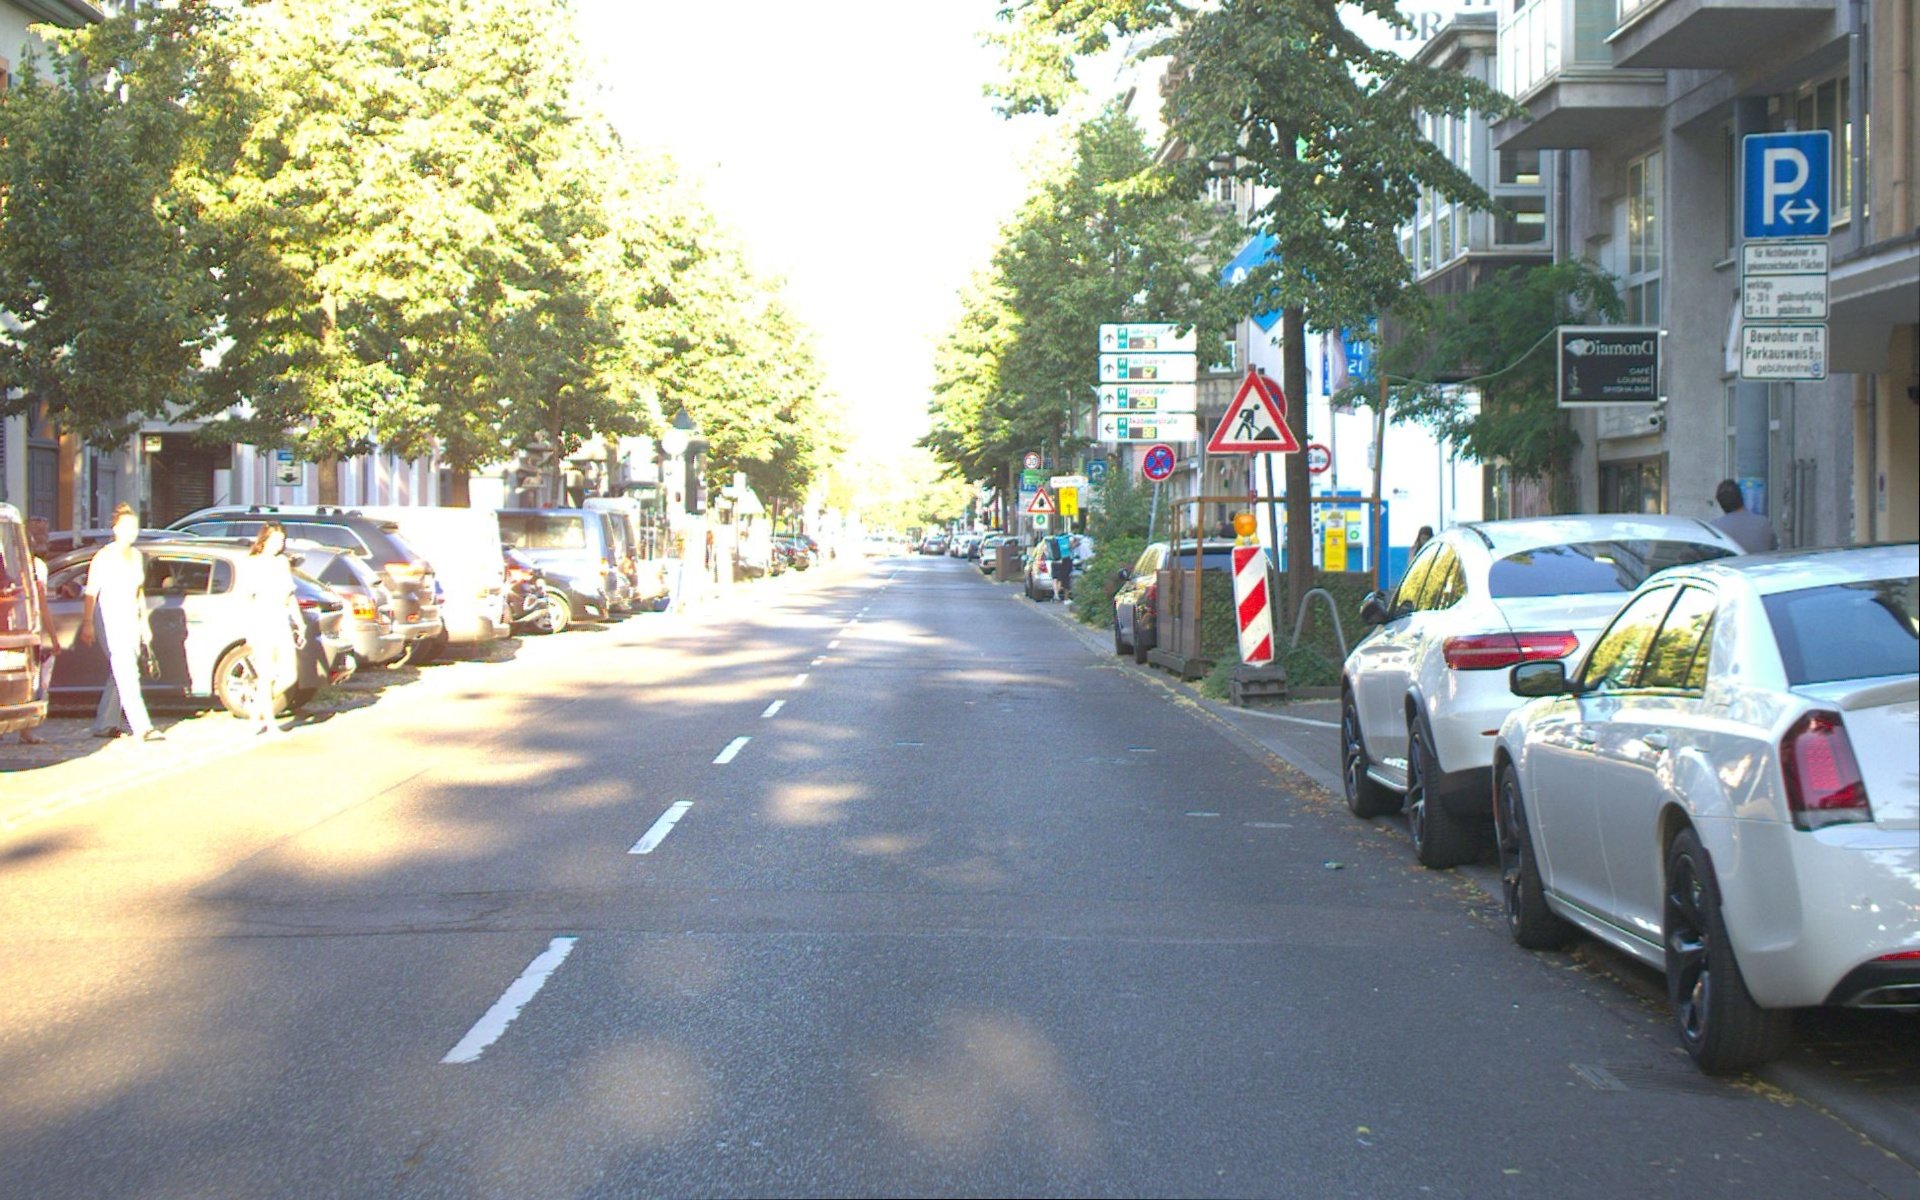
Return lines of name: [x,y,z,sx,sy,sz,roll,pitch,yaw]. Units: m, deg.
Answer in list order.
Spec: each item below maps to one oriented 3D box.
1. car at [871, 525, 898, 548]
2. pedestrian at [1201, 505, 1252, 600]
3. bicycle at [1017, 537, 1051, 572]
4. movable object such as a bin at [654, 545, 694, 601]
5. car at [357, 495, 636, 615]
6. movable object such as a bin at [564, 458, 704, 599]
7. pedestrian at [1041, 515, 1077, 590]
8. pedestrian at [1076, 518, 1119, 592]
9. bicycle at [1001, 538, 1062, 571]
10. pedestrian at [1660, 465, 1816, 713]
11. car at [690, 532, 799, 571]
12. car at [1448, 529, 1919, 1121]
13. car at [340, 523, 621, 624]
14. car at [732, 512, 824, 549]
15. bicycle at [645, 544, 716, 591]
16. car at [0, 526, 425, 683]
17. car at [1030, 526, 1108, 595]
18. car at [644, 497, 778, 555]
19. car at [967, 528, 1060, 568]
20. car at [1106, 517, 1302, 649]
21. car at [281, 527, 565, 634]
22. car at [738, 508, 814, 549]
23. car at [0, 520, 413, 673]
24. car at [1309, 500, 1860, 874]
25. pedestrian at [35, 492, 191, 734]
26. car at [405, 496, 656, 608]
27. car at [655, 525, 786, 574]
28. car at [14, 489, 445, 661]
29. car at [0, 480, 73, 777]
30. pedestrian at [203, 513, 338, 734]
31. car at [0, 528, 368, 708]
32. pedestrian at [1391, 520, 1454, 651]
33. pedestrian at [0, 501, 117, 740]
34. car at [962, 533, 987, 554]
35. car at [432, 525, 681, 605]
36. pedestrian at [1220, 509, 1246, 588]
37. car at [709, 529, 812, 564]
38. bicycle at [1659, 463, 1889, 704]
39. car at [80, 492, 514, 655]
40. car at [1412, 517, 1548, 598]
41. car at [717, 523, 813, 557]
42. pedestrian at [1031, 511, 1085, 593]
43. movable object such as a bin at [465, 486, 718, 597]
car: [-5.255,-4.399,238.608,1.752,1.535,3.304,0,1,1]
pedestrian: [5.264,-0.941,67.947,0.822,1.847,1.097,-2,1,-2]
bicycle: [2.523,-1.542,117.053,0.598,1.174,1.844,1,1,19]
movable object such as a bin: [-5.766,-0.552,69.327,0.690,1.101,0.883,-1,1,1]
car: [-7.912,-0.785,58.944,4.483,1.969,2.068,1,1,0]
movable object such as a bin: [-7.111,-1.567,75.598,2.625,2.959,5.304,0,1,-1]
pedestrian: [2.329,-1.111,80.697,0.677,1.748,0.825,-1,1,-11]
pedestrian: [3.219,-1.054,80.436,0.651,1.694,0.668,-3,1,-44]
bicycle: [2.391,-1.535,115.592,1.958,1.070,0.704,1,1,31]
pedestrian: [5.742,-0.091,25.432,0.855,1.788,0.997,-1,1,-4]
car: [-9.138,-2.075,146.000,4.442,1.562,1.919,1,1,0]
car: [2.992,0.536,11.605,1.842,1.475,5.190,-2,1,-1]
car: [-7.601,-0.432,54.802,4.325,1.496,1.842,1,1,-5]
car: [-8.989,-3.435,170.000,4.442,1.753,1.919,1,1,0]
bicycle: [-7.024,-0.818,86.515,1.683,1.075,0.444,3,0,8]
car: [-7.403,0.026,33.665,4.037,1.478,1.963,0,1,-1]
car: [2.636,-0.979,83.927,1.687,1.569,4.013,-2,1,0]
car: [-8.800,-2.604,121.795,4.571,1.955,1.991,1,1,0]
car: [2.209,-2.127,140.405,1.674,1.583,3.814,2,1,42]
car: [2.942,-0.246,42.386,1.828,1.483,4.850,-2,1,-2]
car: [-8.049,-0.310,51.762,3.923,1.496,1.905,1,1,2]
car: [-11.087,-4.319,207.564,4.442,2.426,1.919,1,1,0]
car: [-7.940,-0.063,36.129,4.037,1.550,1.964,0,1,2]
car: [2.981,0.332,17.442,1.879,1.568,4.692,-2,1,0]
pedestrian: [-6.281,0.085,25.520,0.921,1.753,0.762,-1,1,0]
car: [-8.009,-0.913,64.384,4.483,1.969,1.966,1,1,-2]
car: [-8.653,-1.823,124.474,4.571,1.692,2.060,1,1,0]
car: [-8.135,-0.297,38.566,4.428,1.863,1.894,0,1,0]
car: [-7.881,0.152,21.599,4.138,1.800,1.807,0,1,1]
pedestrian: [-5.175,0.167,25.833,0.827,1.632,0.828,0,1,0]
car: [-7.088,0.131,28.698,4.058,1.456,1.686,0,1,-3]
pedestrian: [5.430,-0.178,40.400,0.610,1.520,0.773,-1,1,0]
pedestrian: [-6.645,0.141,24.782,0.921,1.689,0.762,0,1,0]
car: [0.932,-3.592,219.782,1.513,1.271,3.304,1,1,1]
car: [-7.877,-0.696,67.381,4.594,1.465,1.892,1,1,3]
pedestrian: [6.476,-1.228,81.578,0.460,1.869,0.501,-1,1,-15]
car: [-8.830,-2.377,152.634,4.442,1.444,1.919,1,1,0]
bicycle: [4.550,-0.111,19.352,0.775,1.258,2.050,-2,1,0]
car: [-7.945,-0.336,41.514,4.870,1.901,1.974,0,1,0]
car: [9.681,-0.764,64.344,1.734,1.426,4.909,-1,0,-1]
car: [-9.266,-2.841,163.504,4.442,1.517,1.919,1,1,0]
pedestrian: [2.225,-1.090,77.853,1.013,1.819,0.780,-2,1,-10]
movable object such as a bin: [-8.549,-1.361,80.207,2.312,2.486,5.740,1,1,43]
